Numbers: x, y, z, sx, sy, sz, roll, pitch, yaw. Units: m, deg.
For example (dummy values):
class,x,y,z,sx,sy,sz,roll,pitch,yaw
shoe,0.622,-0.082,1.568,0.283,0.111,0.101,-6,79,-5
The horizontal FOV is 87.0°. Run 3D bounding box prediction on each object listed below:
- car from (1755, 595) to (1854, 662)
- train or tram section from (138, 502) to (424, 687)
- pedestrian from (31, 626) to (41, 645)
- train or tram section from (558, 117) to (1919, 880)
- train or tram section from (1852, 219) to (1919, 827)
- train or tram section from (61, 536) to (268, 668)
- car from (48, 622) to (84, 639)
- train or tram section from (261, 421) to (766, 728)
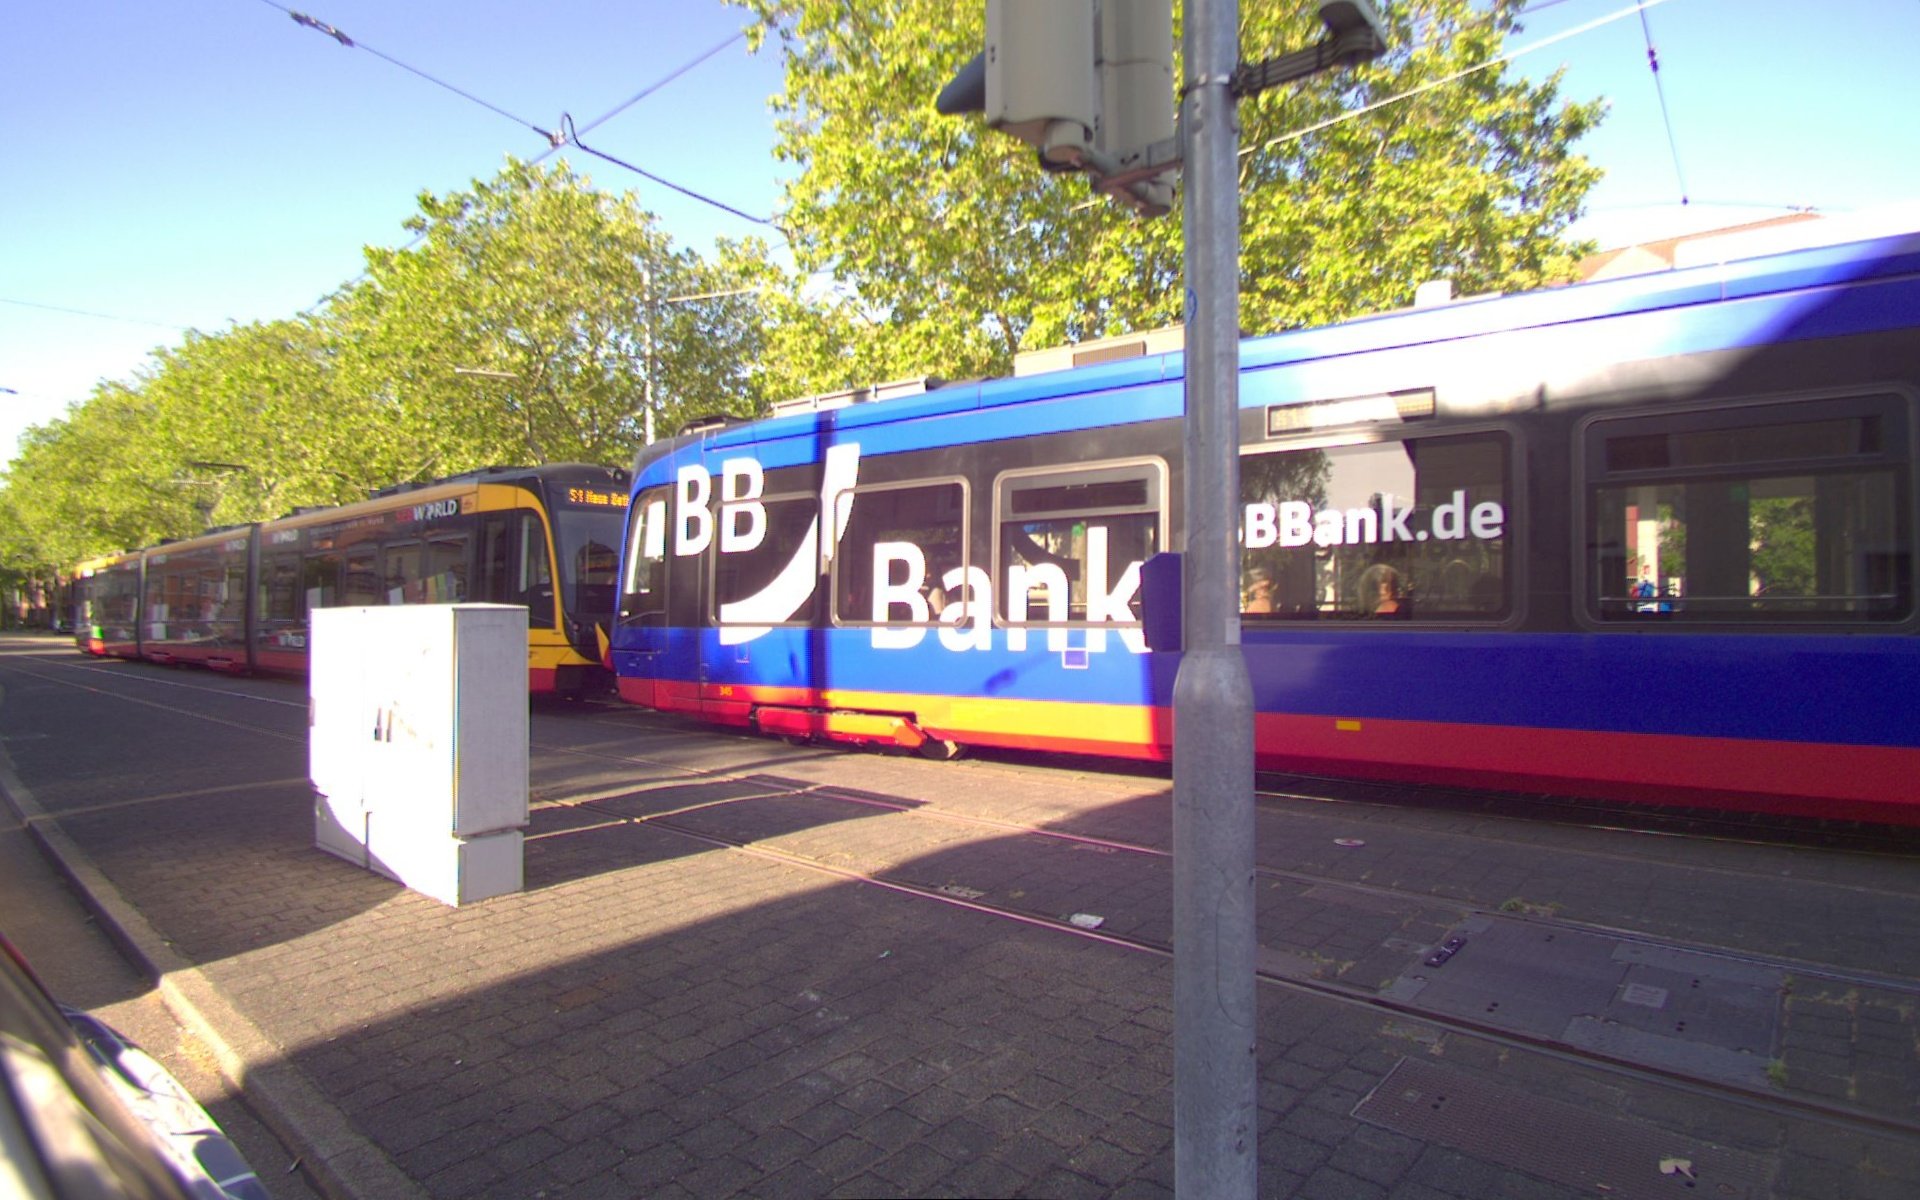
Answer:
class,x,y,z,sx,sy,sz,roll,pitch,yaw
car,20.641,0.677,24.740,1.716,1.497,4.162,-1,-1,40
train or tram section,-17.252,0.004,25.121,11.945,3.640,3.023,-1,-2,42
pedestrian,-83.334,3.218,91.281,0.677,1.654,0.570,-1,-2,43
train or tram section,0.992,-0.384,9.439,12.094,3.640,3.027,-1,-1,37
train or tram section,11.037,-0.530,2.742,12.452,3.640,3.034,-1,-1,30
train or tram section,-26.535,0.177,33.350,12.882,3.640,3.023,-1,-1,41
car,-85.155,2.926,96.404,3.995,1.563,1.859,-1,-1,38
train or tram section,-8.265,-0.194,17.143,12.109,3.640,3.023,-1,-2,41
